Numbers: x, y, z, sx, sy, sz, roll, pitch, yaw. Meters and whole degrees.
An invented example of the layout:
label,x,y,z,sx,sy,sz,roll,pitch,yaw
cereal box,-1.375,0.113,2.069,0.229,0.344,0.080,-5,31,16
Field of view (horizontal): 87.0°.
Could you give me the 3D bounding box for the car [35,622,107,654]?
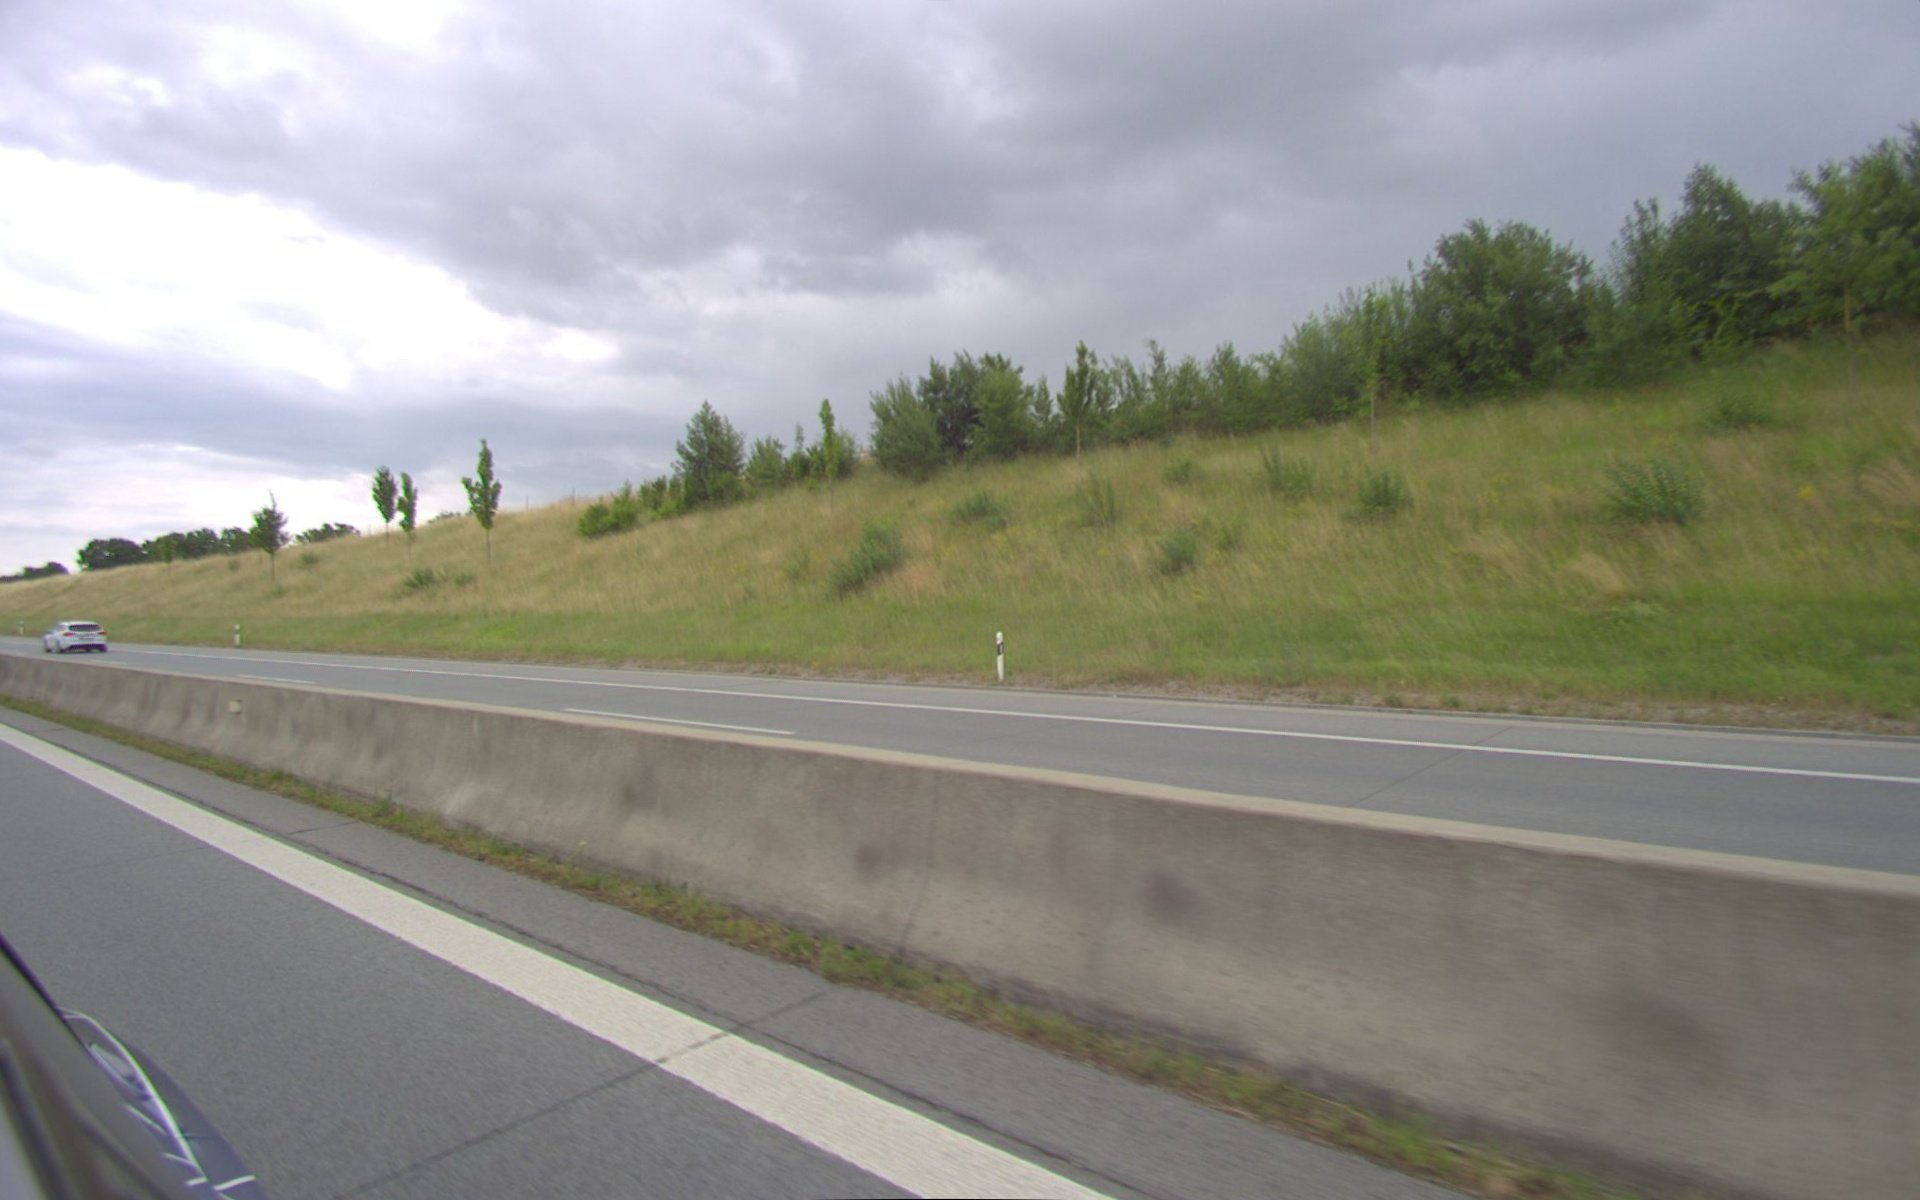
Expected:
label,x,y,z,sx,sy,sz,roll,pitch,yaw
car,-42.625,1.807,48.514,5.009,1.451,1.756,-1,-1,39
